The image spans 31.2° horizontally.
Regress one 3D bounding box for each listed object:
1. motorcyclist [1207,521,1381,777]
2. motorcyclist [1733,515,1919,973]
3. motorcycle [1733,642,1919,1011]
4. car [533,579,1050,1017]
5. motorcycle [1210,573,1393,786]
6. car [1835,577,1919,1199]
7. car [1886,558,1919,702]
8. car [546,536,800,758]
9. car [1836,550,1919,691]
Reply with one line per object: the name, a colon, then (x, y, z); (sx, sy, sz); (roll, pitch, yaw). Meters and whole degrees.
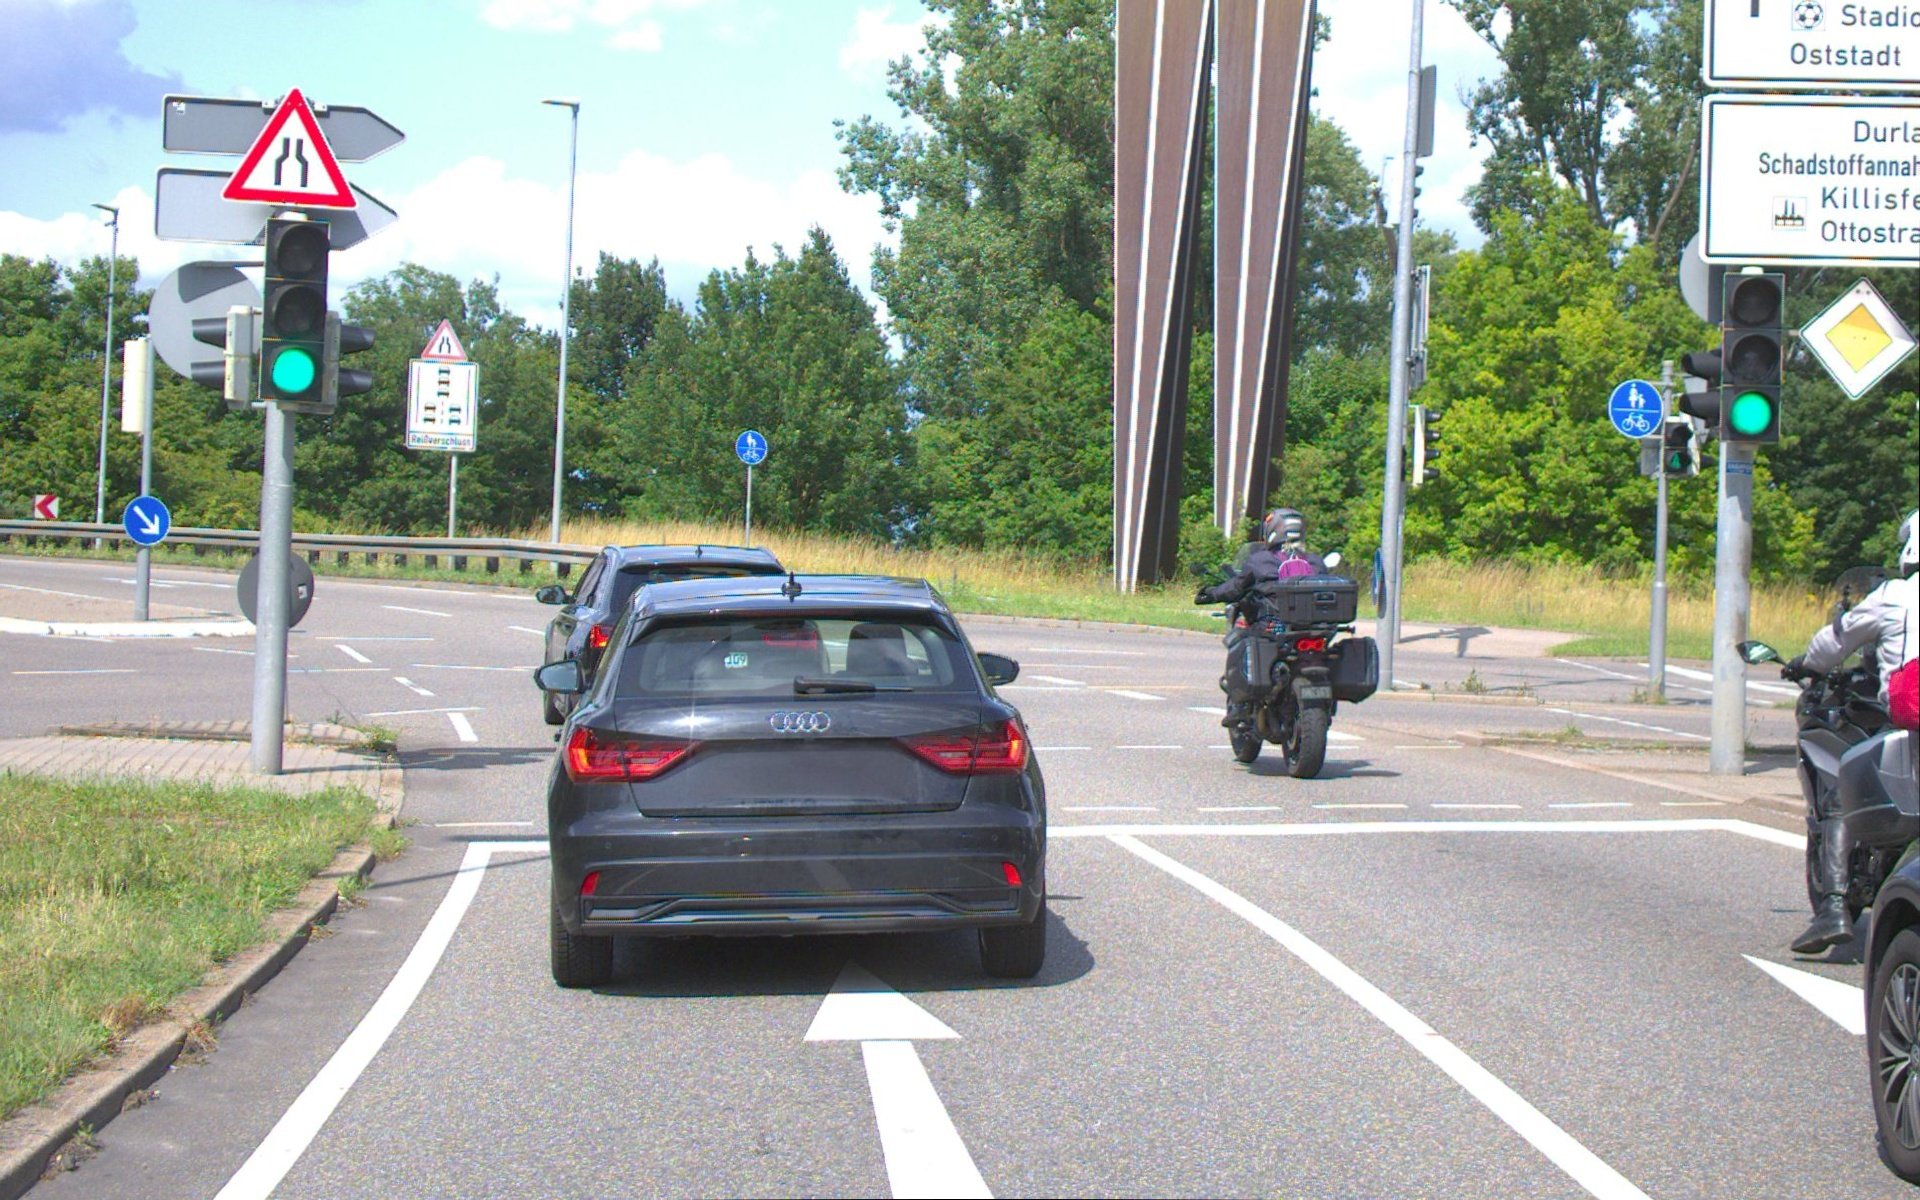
motorcyclist: (2.152, 0.301, 22.284); (0.966, 1.590, 1.125); (2, 1, 0)
motorcyclist: (3.507, 0.510, 12.757); (0.966, 1.615, 1.125); (2, 1, 0)
motorcycle: (3.495, 0.768, 12.482); (0.789, 1.128, 2.399); (2, 1, 0)
car: (-0.563, 0.636, 13.075); (1.682, 1.383, 3.739); (0, 1, 0)
motorcycle: (2.168, 0.475, 22.151); (0.887, 1.243, 2.399); (2, 1, 0)
car: (3.113, 0.727, 6.771); (1.642, 1.474, 3.873); (1, 1, -2)
car: (12.916, 0.442, 38.886); (4.280, 1.611, 1.845); (3, 0, -2)
car: (-2.035, 0.284, 25.232); (1.642, 1.474, 3.873); (1, 1, -2)
car: (13.195, 0.328, 42.393); (4.201, 1.640, 1.838); (3, 2, -2)
